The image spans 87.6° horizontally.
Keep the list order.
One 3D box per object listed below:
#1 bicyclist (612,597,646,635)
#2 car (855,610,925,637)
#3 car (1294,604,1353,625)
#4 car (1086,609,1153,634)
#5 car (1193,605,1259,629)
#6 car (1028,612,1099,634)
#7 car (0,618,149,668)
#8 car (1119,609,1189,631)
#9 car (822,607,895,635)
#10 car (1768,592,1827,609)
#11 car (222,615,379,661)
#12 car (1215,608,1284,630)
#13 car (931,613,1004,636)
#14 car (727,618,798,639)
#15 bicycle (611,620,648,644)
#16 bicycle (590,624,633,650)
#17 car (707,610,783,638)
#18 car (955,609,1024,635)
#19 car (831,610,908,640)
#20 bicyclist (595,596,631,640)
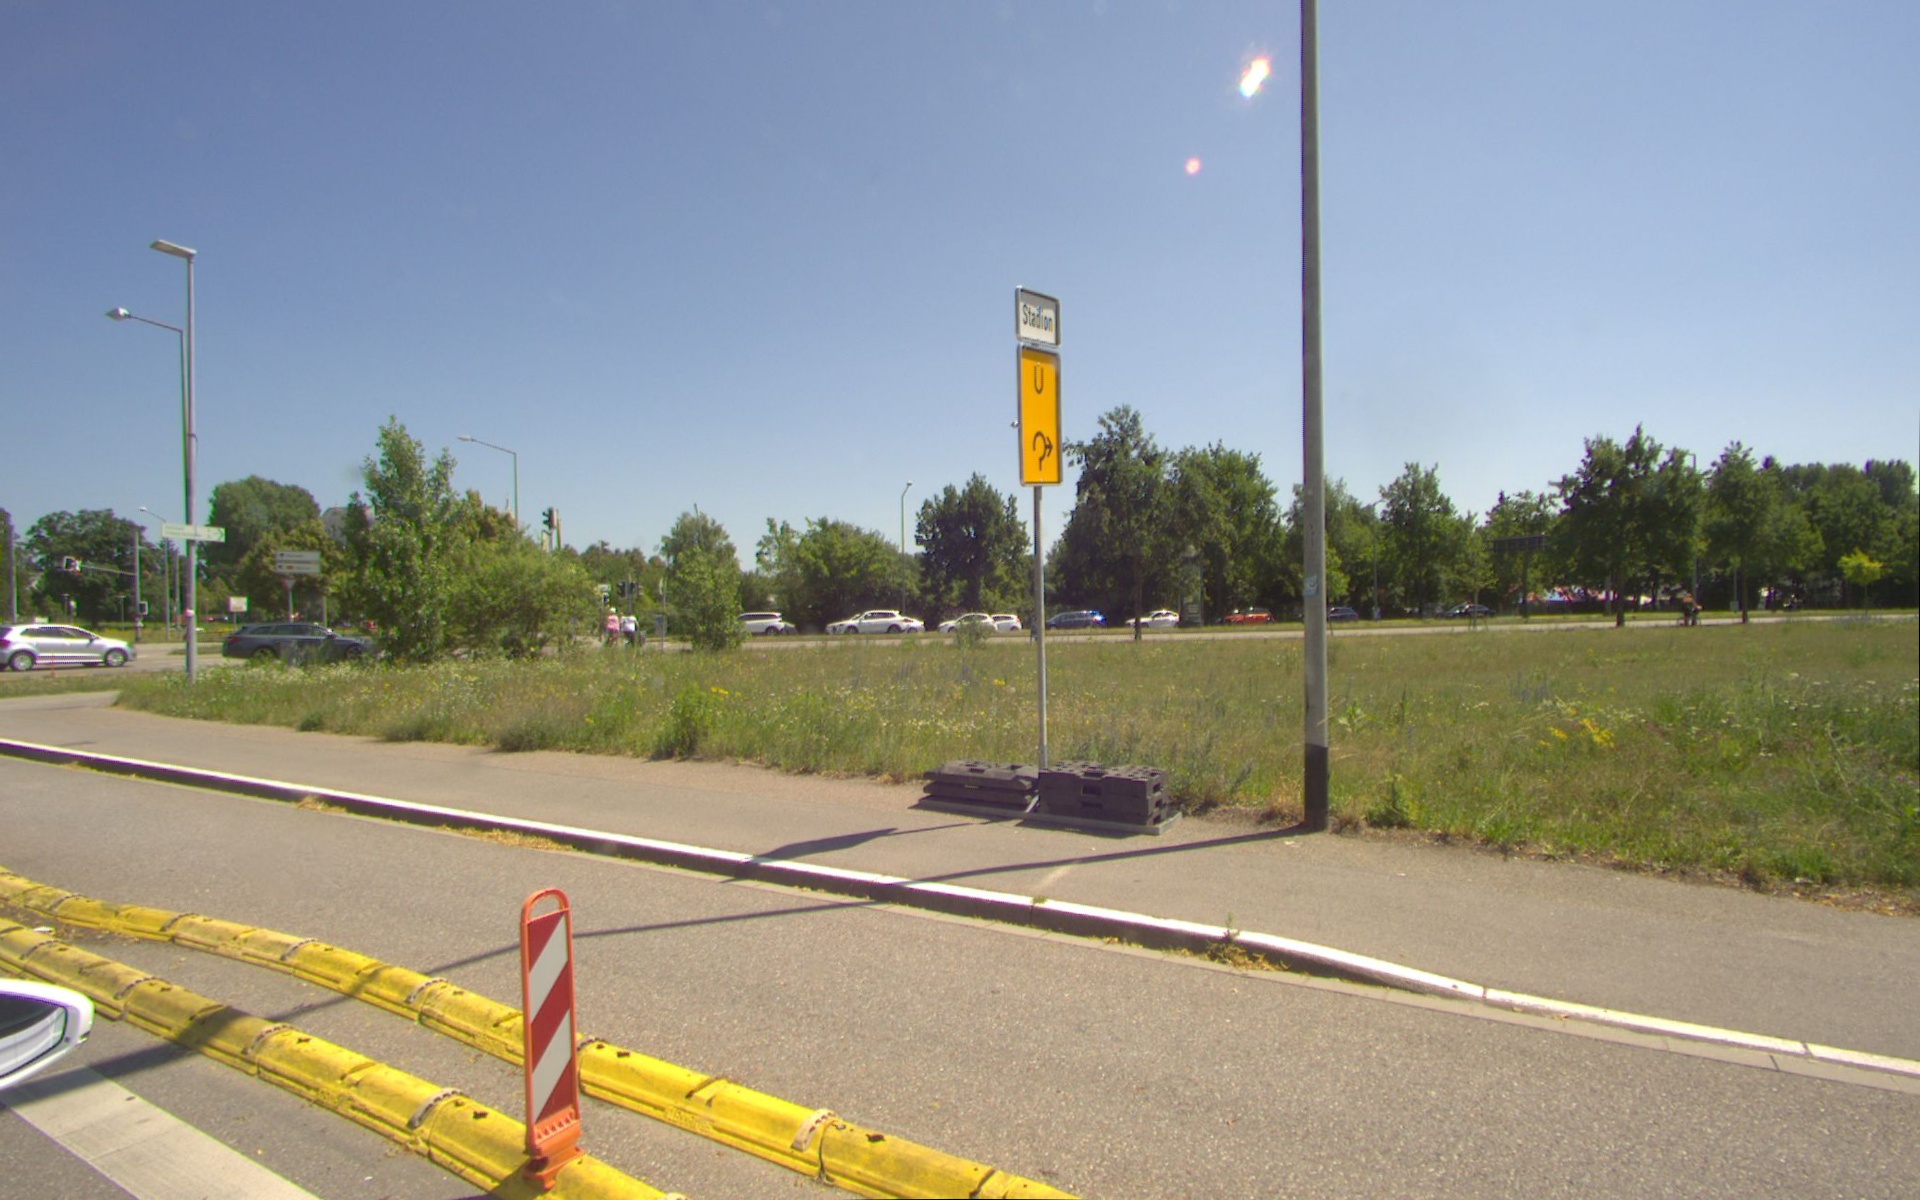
[{"bbox_3d":[-13.680,0.652,41.364,0.941,1.552,1.185,0,1,3],"label":"bicyclist"},{"bbox_3d":[-4.650,1.512,66.173,4.329,1.705,1.862,0,0,-16],"label":"car"},{"bbox_3d":[26.217,1.068,72.196,3.730,1.493,1.718,0,-2,-17],"label":"car"},{"bbox_3d":[11.302,1.530,71.098,4.329,1.705,1.862,0,0,-16],"label":"car"},{"bbox_3d":[19.551,1.216,73.593,4.329,1.705,1.862,0,0,-16],"label":"car"},{"bbox_3d":[6.837,1.497,66.158,4.329,1.441,1.862,0,0,-16],"label":"car"},{"bbox_3d":[-29.217,1.354,32.615,1.752,1.441,3.990,-1,0,22],"label":"car"},{"bbox_3d":[13.212,1.377,68.363,4.329,1.441,1.862,0,0,-16],"label":"car"},{"bbox_3d":[-6.365,1.304,62.779,4.329,1.705,1.862,0,0,-16],"label":"car"},{"bbox_3d":[73.389,0.033,87.752,4.329,1.441,1.862,0,0,-16],"label":"car"},{"bbox_3d":[-23.057,1.276,35.080,4.405,1.437,1.983,0,0,-40],"label":"car"},{"bbox_3d":[20.399,1.326,70.584,4.329,1.441,1.862,0,0,-16],"label":"car"},{"bbox_3d":[0.477,1.557,64.680,4.329,1.441,1.862,0,0,-16],"label":"car"},{"bbox_3d":[-12.573,1.779,63.712,4.329,1.287,1.862,0,0,-16],"label":"car"},{"bbox_3d":[-13.625,1.314,41.322,0.881,0.912,1.762,1,1,4],"label":"bicycle"},{"bbox_3d":[-12.857,1.365,37.003,0.881,0.912,2.227,1,-1,-2],"label":"bicycle"},{"bbox_3d":[-12.899,1.437,60.079,4.329,1.639,1.862,0,0,-16],"label":"car"},{"bbox_3d":[1.994,1.458,68.248,4.329,1.705,1.862,0,0,-16],"label":"car"},{"bbox_3d":[-5.411,1.463,59.799,4.329,1.705,1.862,0,0,-16],"label":"car"},{"bbox_3d":[-12.857,0.673,37.108,0.941,1.630,1.186,0,-1,-2],"label":"bicyclist"}]
